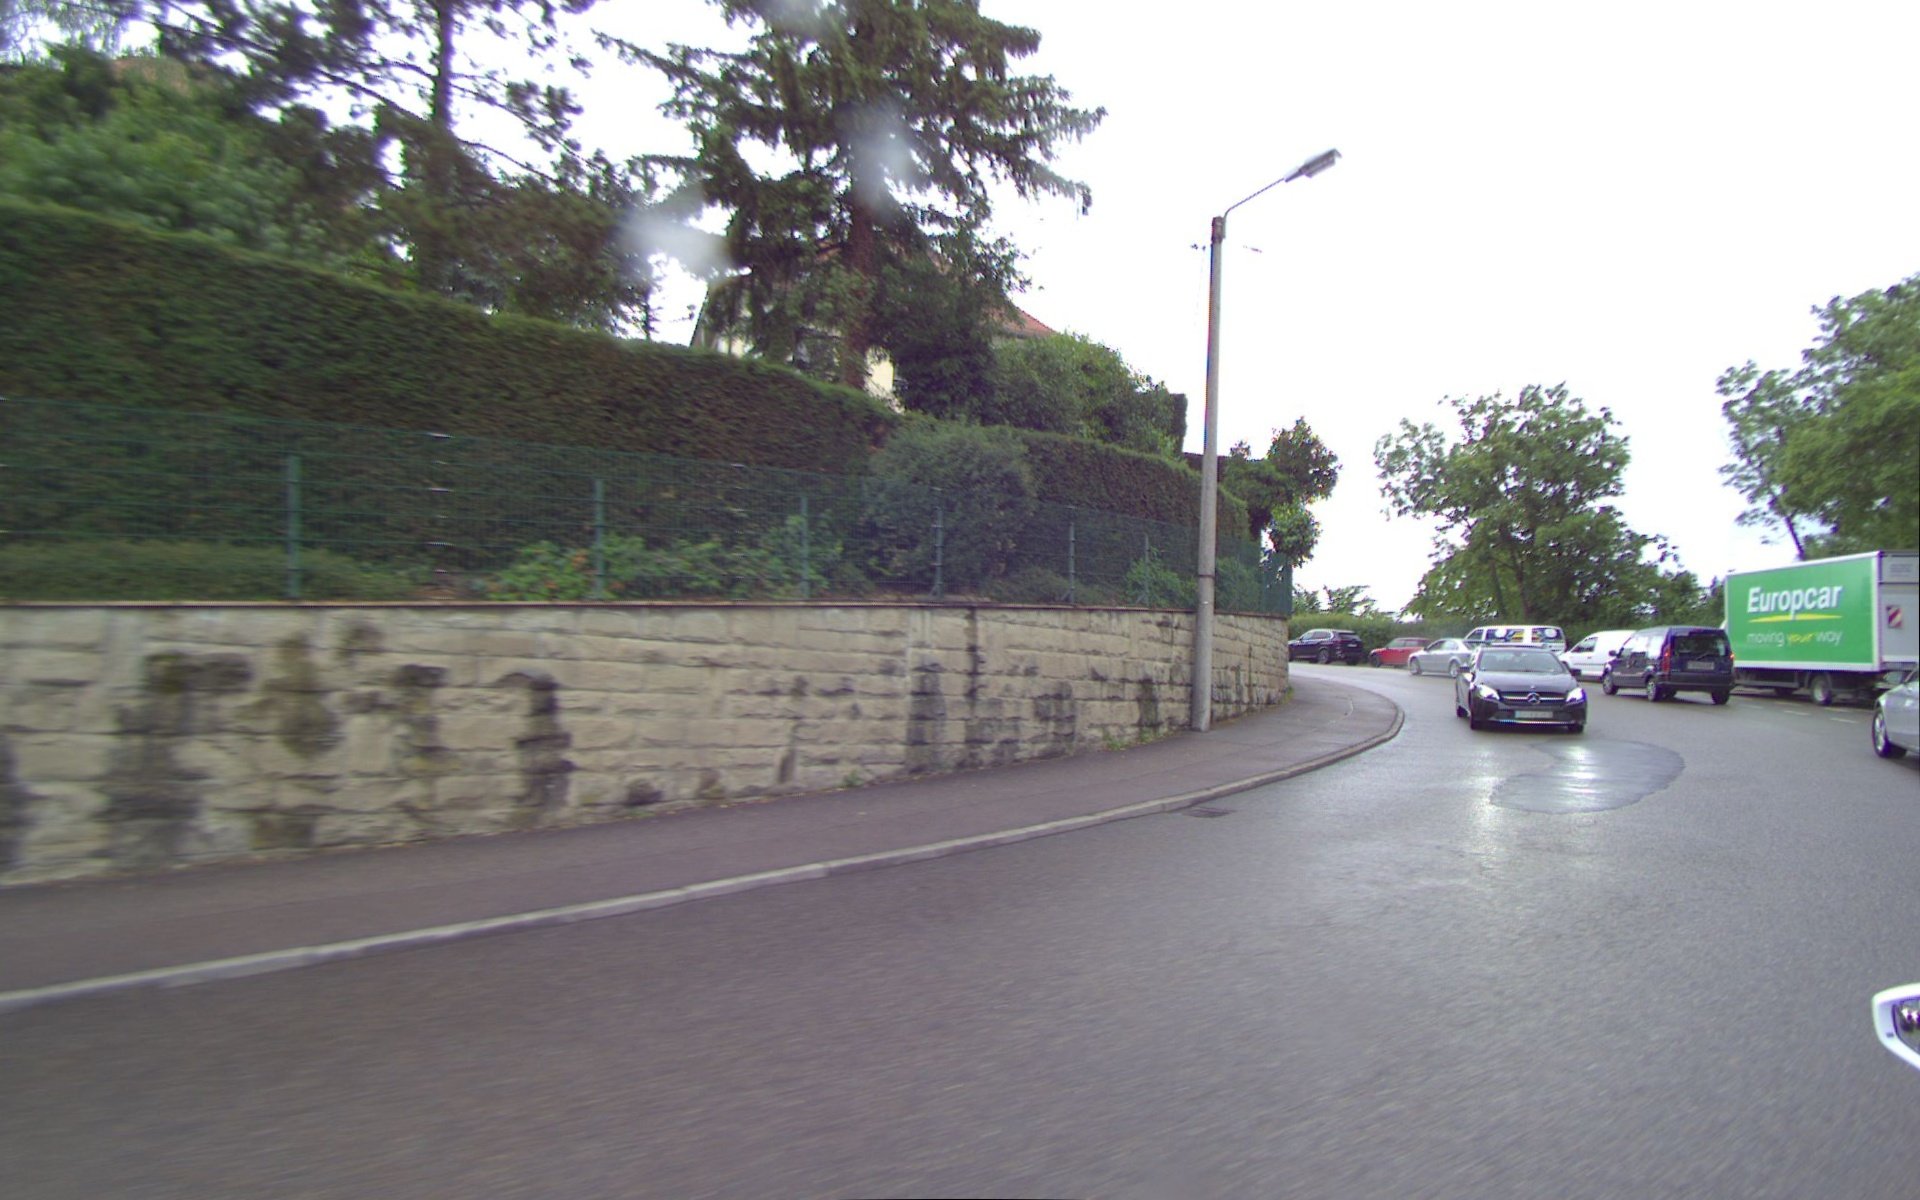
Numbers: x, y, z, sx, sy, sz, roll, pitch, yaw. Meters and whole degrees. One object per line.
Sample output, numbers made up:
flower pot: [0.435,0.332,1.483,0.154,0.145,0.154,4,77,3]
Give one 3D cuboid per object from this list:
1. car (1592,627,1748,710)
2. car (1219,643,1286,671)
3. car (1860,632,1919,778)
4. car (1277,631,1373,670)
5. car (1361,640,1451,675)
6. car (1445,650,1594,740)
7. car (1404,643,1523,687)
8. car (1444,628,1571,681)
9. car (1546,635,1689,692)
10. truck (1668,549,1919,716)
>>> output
car: [17.765,1.691,25.381,1.793,1.907,4.098,-1,-3,14]
car: [16.665,3.222,57.376,1.668,1.440,3.968,4,-3,-18]
car: [11.663,1.173,11.054,1.955,1.574,4.287,0,-3,33]
car: [18.851,2.575,52.157,2.003,1.806,4.878,4,-2,-19]
car: [20.738,2.638,46.847,1.652,1.432,3.724,4,-2,-21]
car: [10.165,1.656,18.555,1.758,1.453,4.115,-2,-3,20]
car: [18.090,2.323,36.318,1.825,1.477,4.091,0,-3,-8]
car: [22.124,2.171,40.838,1.834,1.973,4.796,2,-2,-13]
car: [22.740,2.166,34.955,1.831,1.794,4.376,2,-2,-5]
truck: [21.703,0.859,25.459,2.726,3.516,8.941,0,-2,12]
